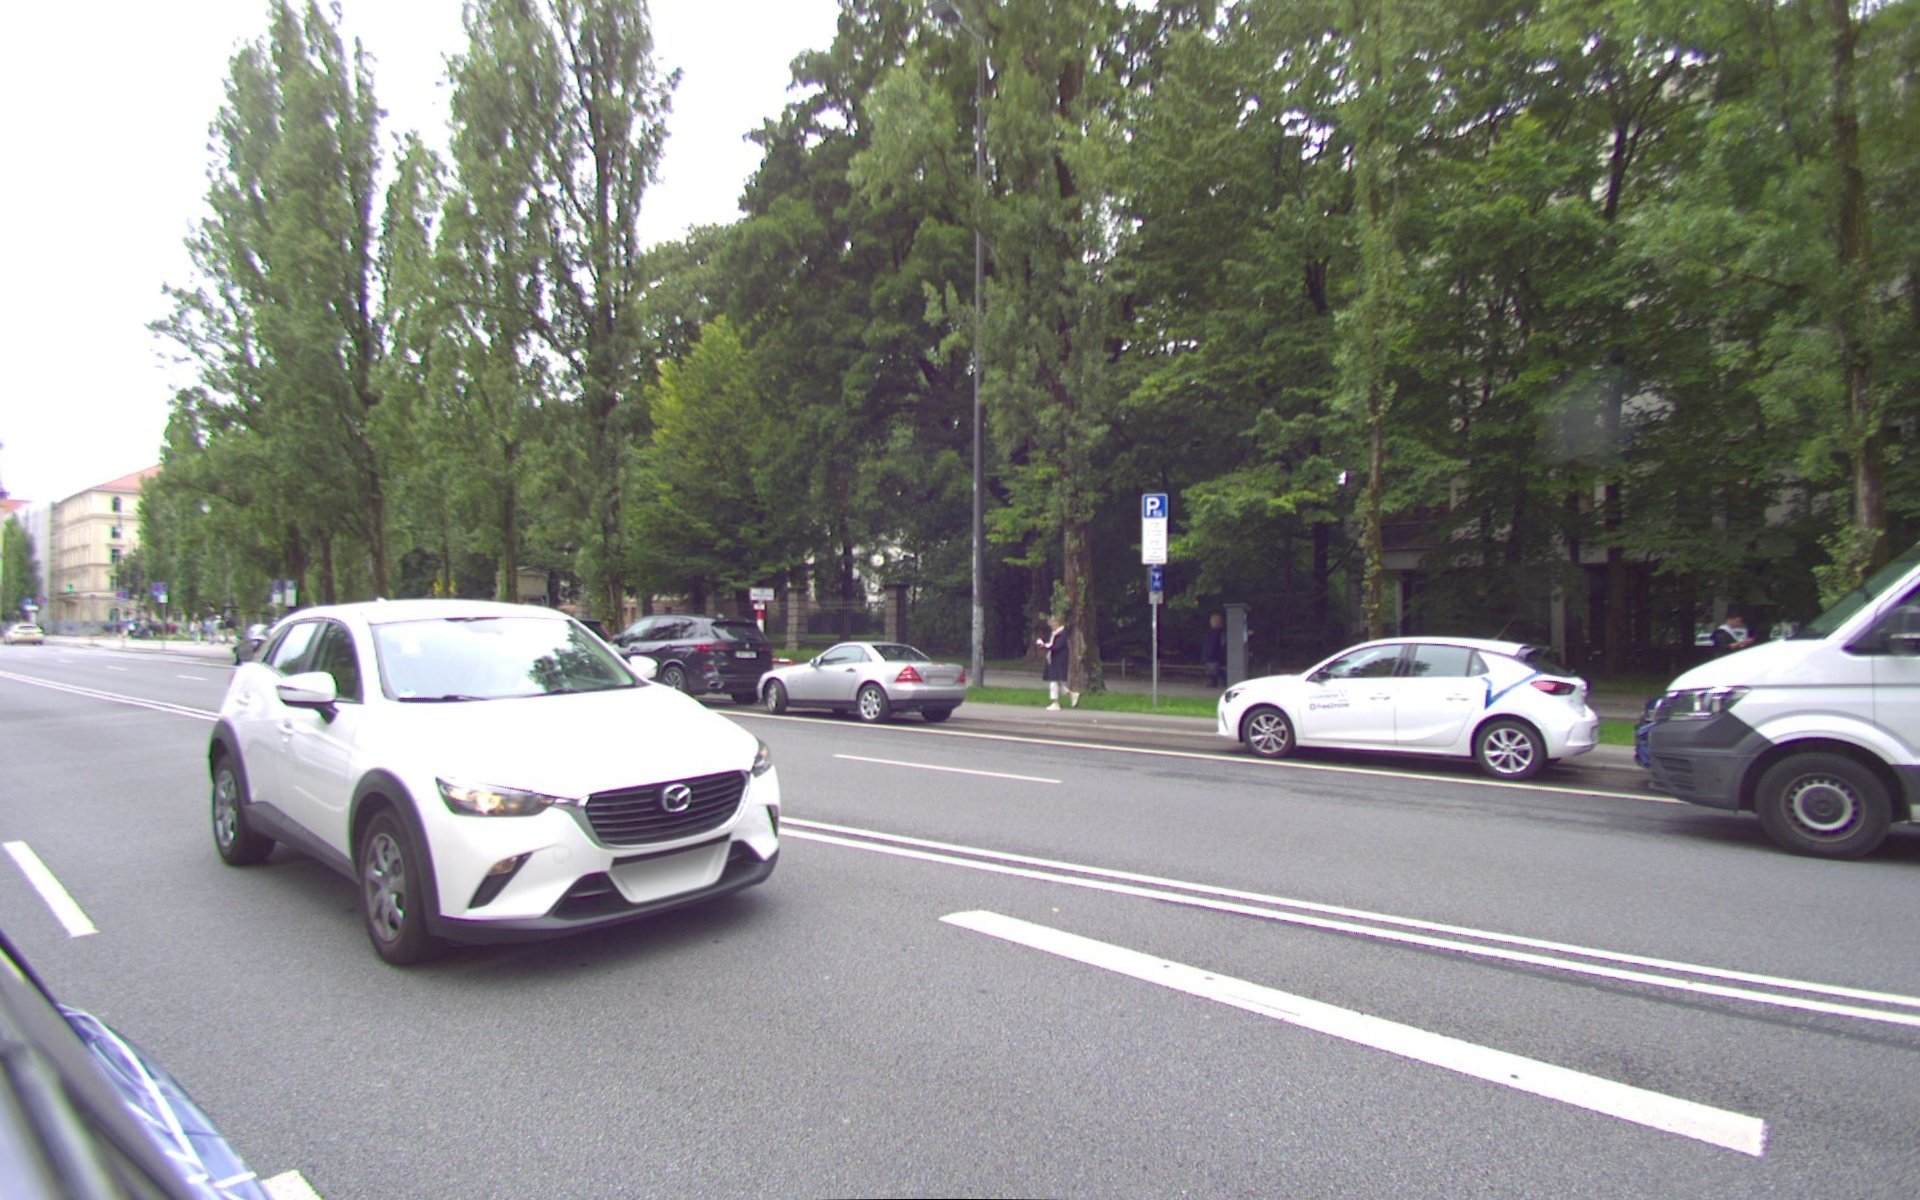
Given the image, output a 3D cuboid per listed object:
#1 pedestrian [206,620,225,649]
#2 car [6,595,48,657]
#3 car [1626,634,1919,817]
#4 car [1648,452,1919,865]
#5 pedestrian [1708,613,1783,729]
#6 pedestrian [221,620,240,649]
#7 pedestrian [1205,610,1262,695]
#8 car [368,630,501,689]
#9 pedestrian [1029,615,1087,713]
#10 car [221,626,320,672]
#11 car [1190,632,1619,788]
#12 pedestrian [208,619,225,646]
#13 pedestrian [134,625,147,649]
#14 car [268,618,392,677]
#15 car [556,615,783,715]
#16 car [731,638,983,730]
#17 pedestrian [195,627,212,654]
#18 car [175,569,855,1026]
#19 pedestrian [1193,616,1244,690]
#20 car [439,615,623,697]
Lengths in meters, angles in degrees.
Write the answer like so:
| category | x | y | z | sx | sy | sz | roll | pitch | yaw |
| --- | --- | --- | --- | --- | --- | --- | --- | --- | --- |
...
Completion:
| category | x | y | z | sx | sy | sz | roll | pitch | yaw |
| --- | --- | --- | --- | --- | --- | --- | --- | --- | --- |
| pedestrian | -47.217 | 2.182 | 64.178 | 1.092 | 1.847 | 0.702 | -1 | -2 | 39 |
| car | -65.161 | 1.787 | 70.641 | 4.503 | 1.331 | 1.780 | 50 | 13 | 34 |
| car | 8.116 | 1.068 | 8.946 | 3.582 | 1.462 | 1.692 | -1 | -4 | 39 |
| car | 8.074 | 0.360 | 5.704 | 6.751 | 2.502 | 2.205 | -1 | -4 | 40 |
| pedestrian | 12.641 | 1.107 | 16.283 | 0.889 | 1.785 | 0.729 | -1 | -1 | 41 |
| pedestrian | -46.704 | 2.207 | 64.785 | 1.092 | 1.786 | 0.702 | -1 | -2 | 39 |
| pedestrian | 5.789 | 1.100 | 21.426 | 0.956 | 1.755 | 0.659 | -2 | -2 | 41 |
| car | -14.410 | 1.597 | 27.656 | 4.269 | 1.470 | 1.687 | -1 | -4 | 40 |
| pedestrian | 1.750 | 1.122 | 18.005 | 0.751 | 1.677 | 0.730 | -2 | -3 | 41 |
| car | -25.562 | 1.809 | 37.475 | 4.386 | 1.596 | 1.924 | -2 | -4 | 41 |
| car | 4.988 | 1.142 | 11.671 | 4.229 | 1.463 | 1.753 | -1 | -4 | 39 |
| pedestrian | -48.579 | 2.125 | 66.122 | 0.910 | 1.729 | 0.653 | -2 | -2 | 40 |
| pedestrian | -59.596 | 2.696 | 73.619 | 0.581 | 1.744 | 0.527 | -1 | -2 | 29 |
| car | -20.792 | 1.545 | 33.325 | 4.796 | 1.800 | 2.025 | -1 | -4 | 40 |
| car | -5.963 | 1.269 | 20.478 | 4.890 | 1.781 | 1.922 | -1 | -5 | 39 |
| car | -1.822 | 1.357 | 17.154 | 4.230 | 1.344 | 1.808 | -1 | -4 | 40 |
| pedestrian | -48.975 | 2.601 | 65.494 | 0.885 | 1.713 | 0.681 | -2 | -2 | 39 |
| car | -2.611 | 0.726 | 5.473 | 4.007 | 1.537 | 1.885 | -2 | -2 | 42 |
| pedestrian | 5.835 | 1.183 | 22.861 | 0.881 | 1.611 | 0.729 | -1 | -1 | 41 |
| car | -10.488 | 1.329 | 24.538 | 5.175 | 1.803 | 1.890 | -1 | -5 | 40 |
